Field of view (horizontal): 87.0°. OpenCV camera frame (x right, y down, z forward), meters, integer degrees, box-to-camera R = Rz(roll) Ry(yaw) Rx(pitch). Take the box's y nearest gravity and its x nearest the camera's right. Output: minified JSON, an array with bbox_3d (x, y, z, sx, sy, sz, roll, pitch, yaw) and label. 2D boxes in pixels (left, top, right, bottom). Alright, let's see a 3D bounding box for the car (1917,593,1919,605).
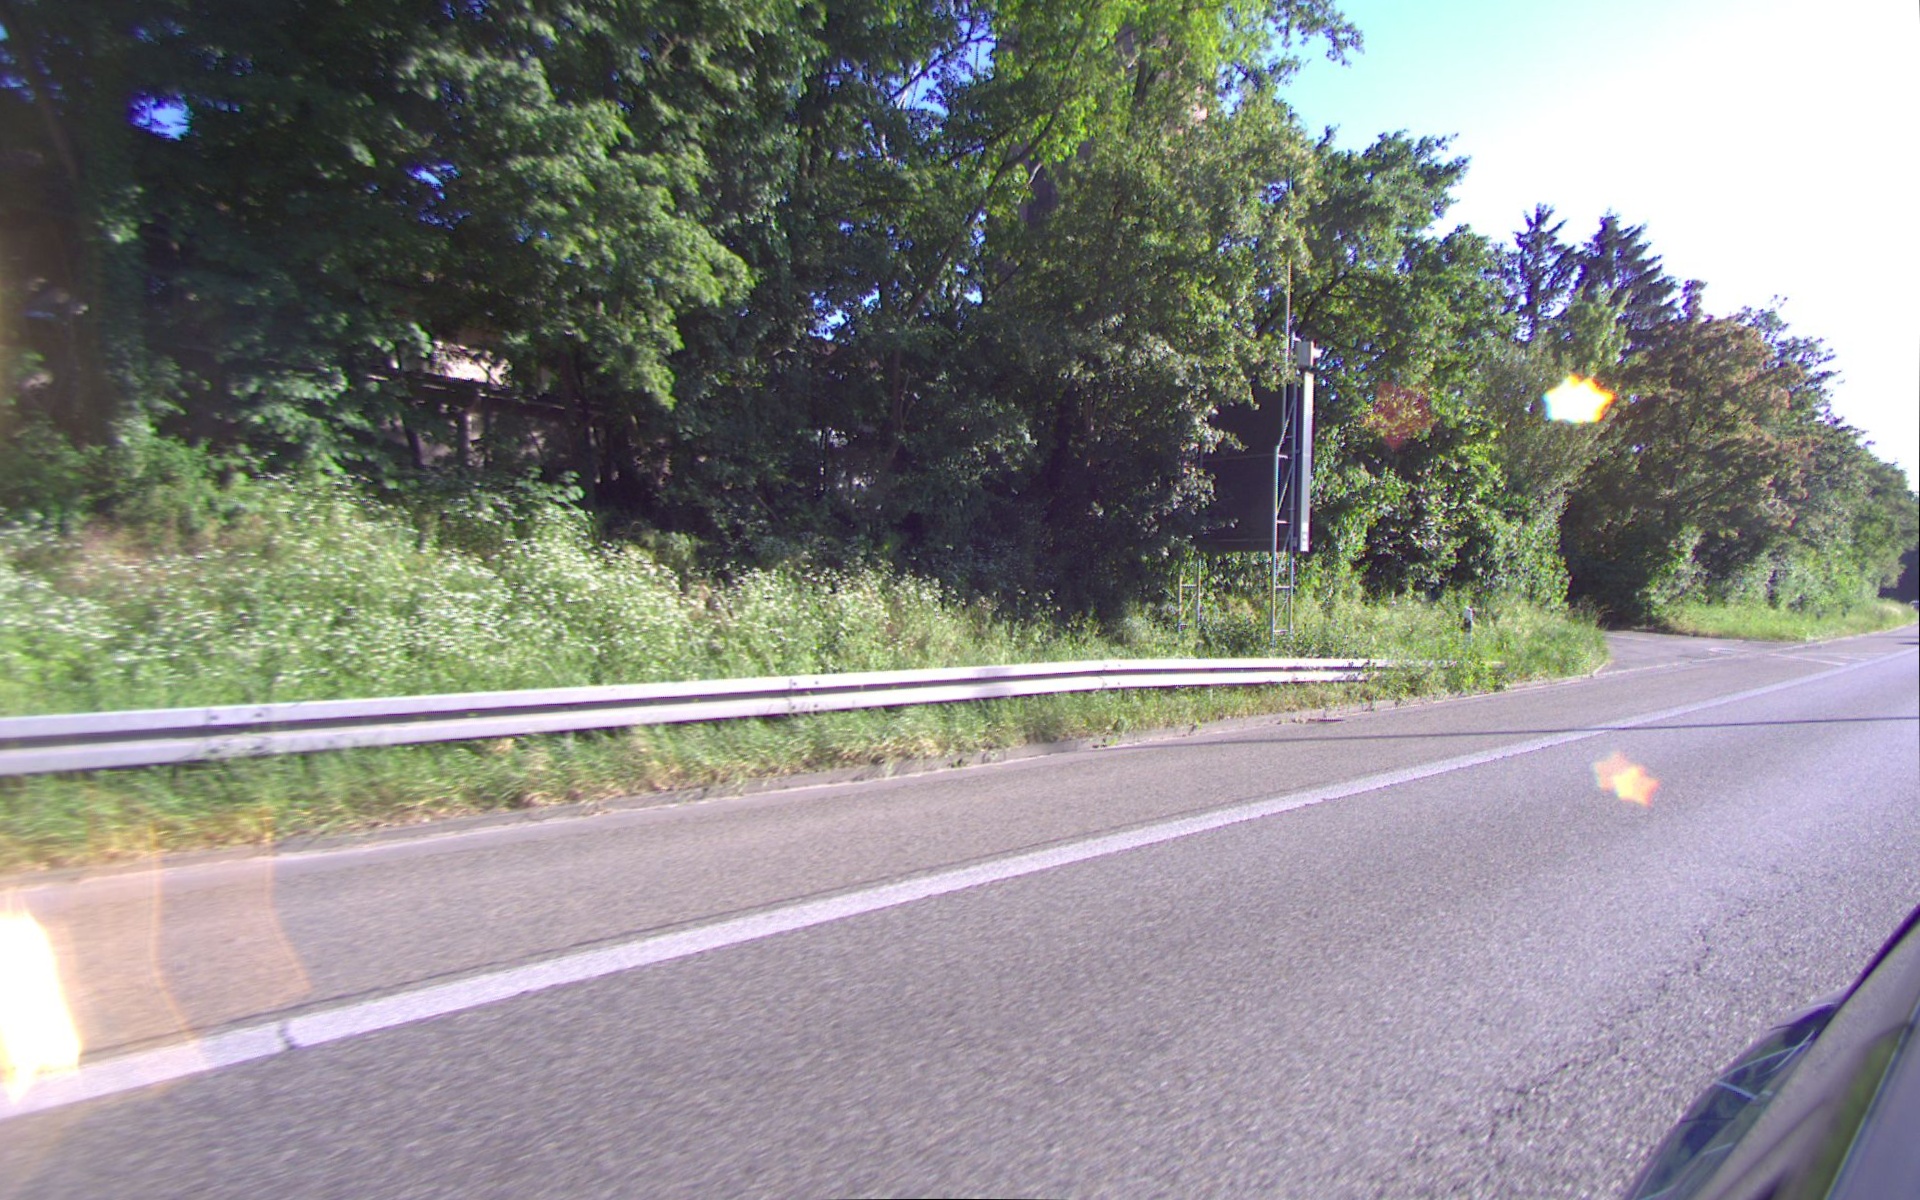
[{"bbox_3d":[157.081,-0.139,164.444,1.991,2.039,3.943,2,1,40],"label":"car"}]
